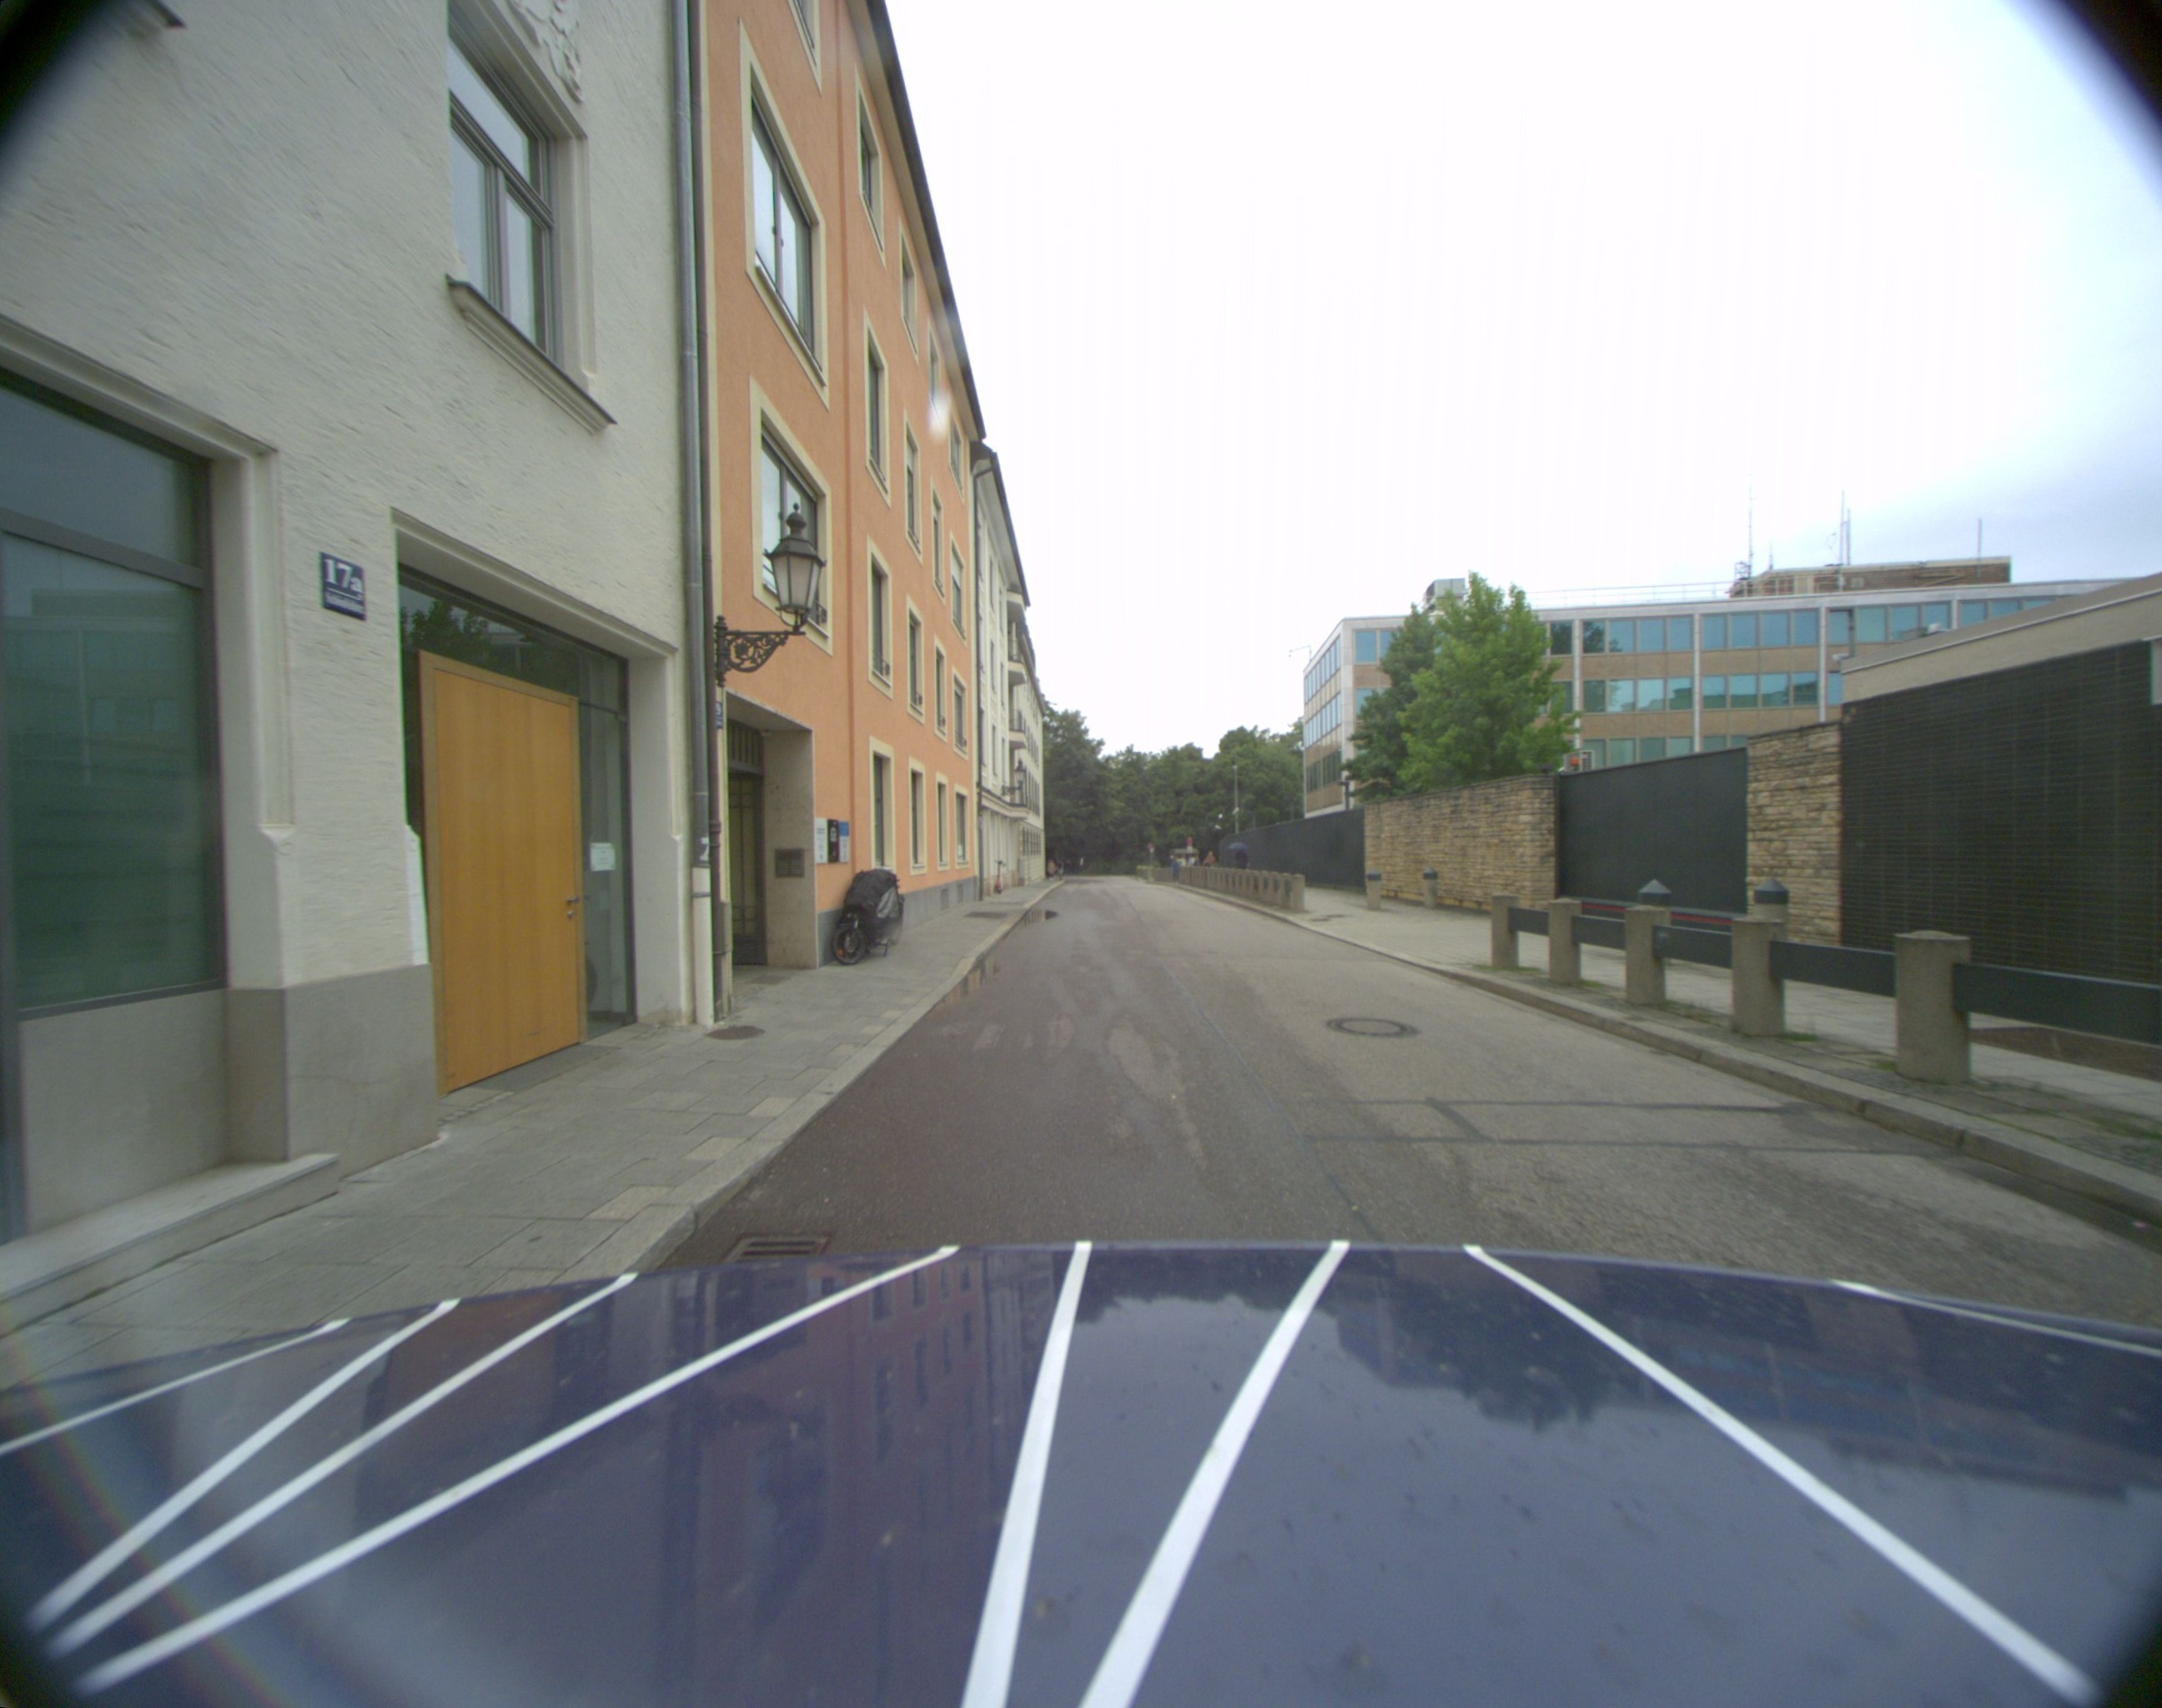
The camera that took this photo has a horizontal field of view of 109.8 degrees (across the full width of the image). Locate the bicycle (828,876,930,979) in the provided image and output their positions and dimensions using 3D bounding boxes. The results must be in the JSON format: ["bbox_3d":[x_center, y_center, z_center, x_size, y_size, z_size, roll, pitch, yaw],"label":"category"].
[{"bbox_3d":[-2.854,0.987,11.045,0.681,1.233,2.382,4,0,2],"label":"bicycle"}]

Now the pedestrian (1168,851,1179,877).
[{"bbox_3d":[6.261,0.683,51.635,0.625,1.758,0.766,-1,0,0],"label":"pedestrian"}]

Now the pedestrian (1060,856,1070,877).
[{"bbox_3d":[-1.320,0.997,61.573,0.753,1.725,0.853,-1,0,-1],"label":"pedestrian"}]

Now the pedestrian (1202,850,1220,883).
[{"bbox_3d":[6.959,0.659,40.714,0.826,1.713,0.906,-3,0,6],"label":"pedestrian"}]

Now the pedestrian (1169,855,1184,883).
[{"bbox_3d":[5.168,0.825,41.011,0.640,1.458,1.079,-3,0,1],"label":"pedestrian"}]

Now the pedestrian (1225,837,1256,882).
[{"bbox_3d":[7.590,0.257,36.215,1.226,2.091,1.117,-1,0,3],"label":"pedestrian"}]

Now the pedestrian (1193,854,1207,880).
[{"bbox_3d":[7.366,0.794,46.892,0.778,1.531,0.933,-3,0,8],"label":"pedestrian"}]

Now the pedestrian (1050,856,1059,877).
[{"bbox_3d":[-2.132,1.034,61.233,0.753,1.671,0.656,-1,0,-1],"label":"pedestrian"}]

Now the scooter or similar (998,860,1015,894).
[{"bbox_3d":[-2.919,0.881,29.622,0.466,1.251,1.275,2,1,-13],"label":"scooter or similar"}]
